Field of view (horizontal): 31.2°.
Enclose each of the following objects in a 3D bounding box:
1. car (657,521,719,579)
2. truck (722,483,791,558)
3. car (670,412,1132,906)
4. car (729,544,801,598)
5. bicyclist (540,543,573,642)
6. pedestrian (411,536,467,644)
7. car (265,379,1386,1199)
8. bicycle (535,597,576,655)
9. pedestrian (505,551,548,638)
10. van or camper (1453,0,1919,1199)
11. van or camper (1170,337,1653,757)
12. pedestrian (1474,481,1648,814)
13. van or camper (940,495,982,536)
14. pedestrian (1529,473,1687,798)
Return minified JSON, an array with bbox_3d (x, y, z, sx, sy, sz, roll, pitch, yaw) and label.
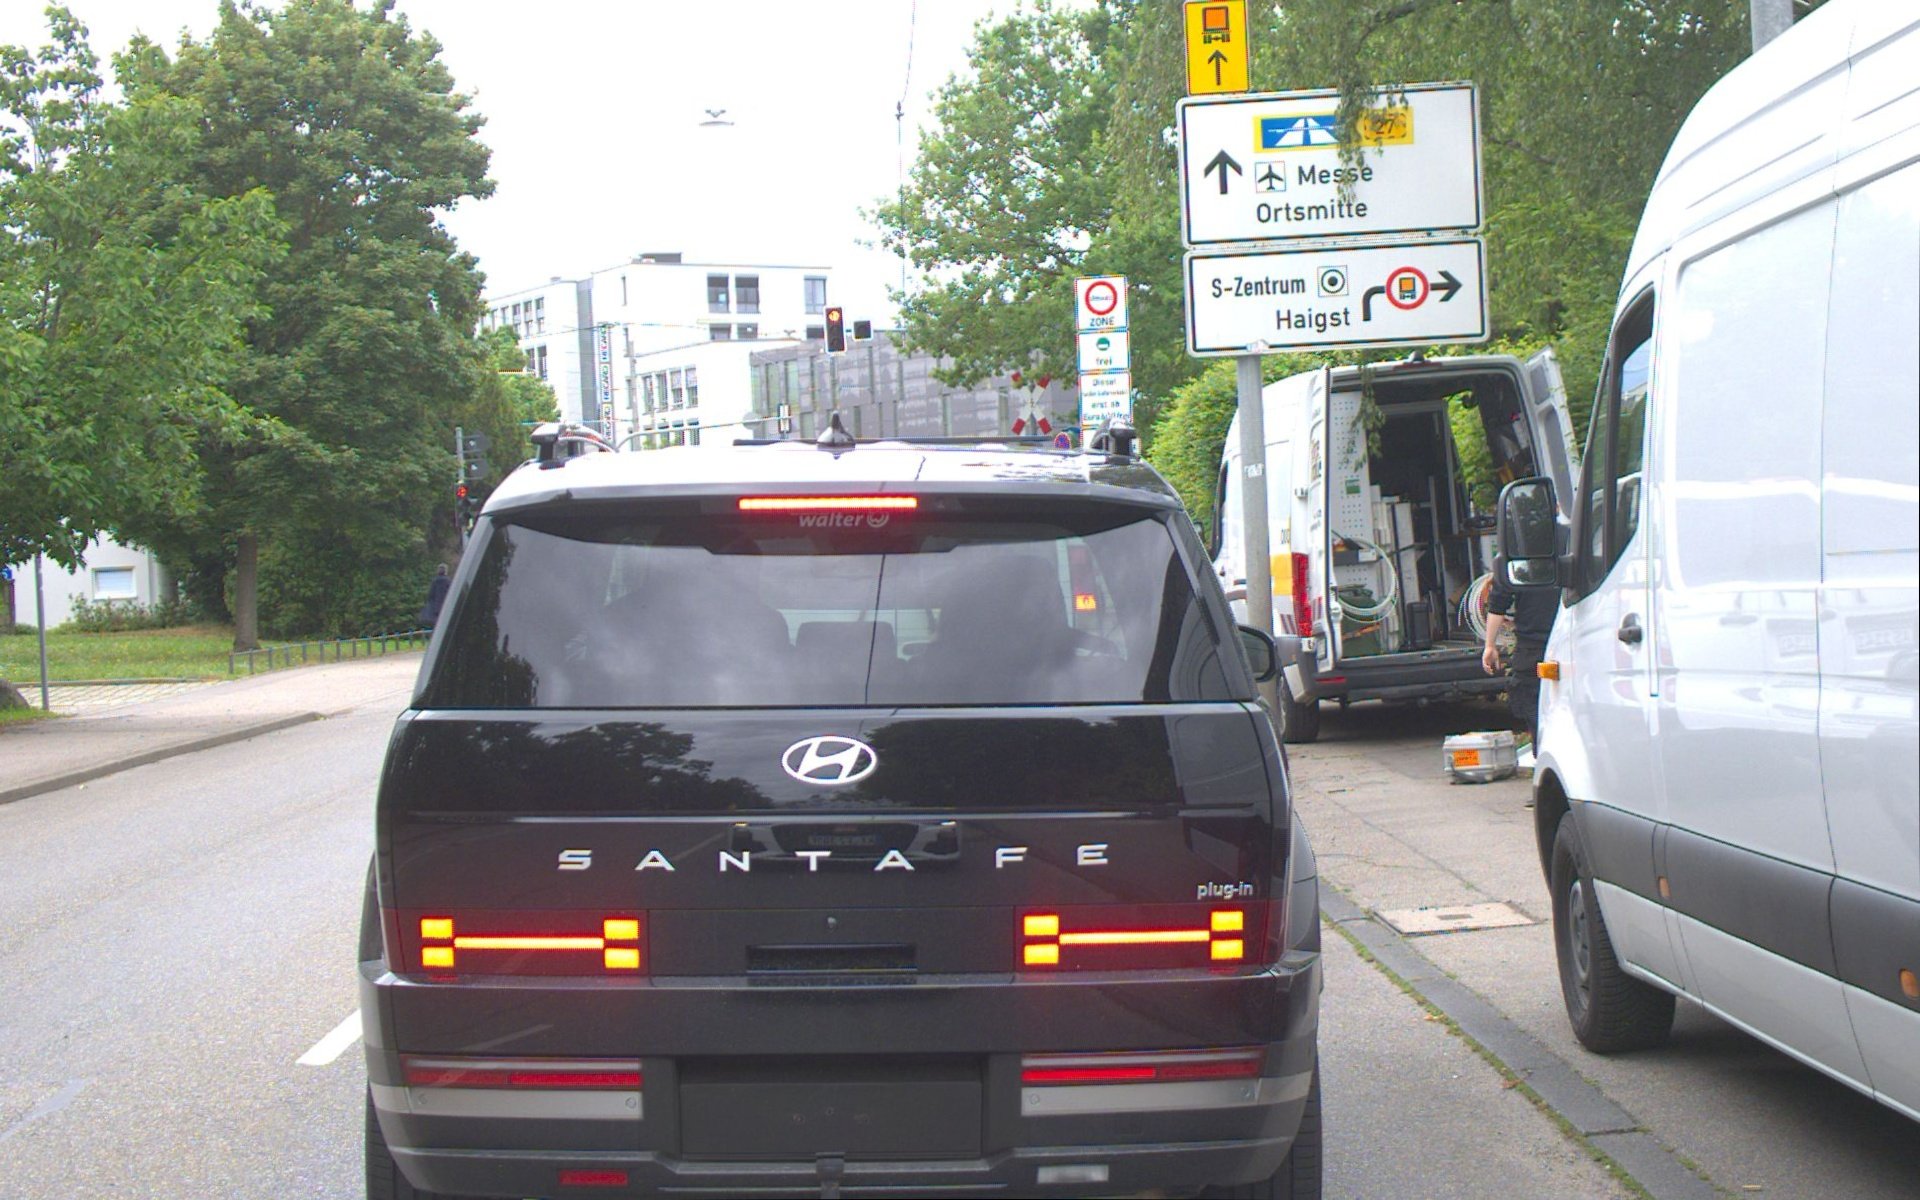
[{"bbox_3d":[-11.422,-2.096,144.193,2.332,2.307,4.959,-2,1,-6],"label":"car"},{"bbox_3d":[-11.140,-4.266,187.086,3.107,3.846,9.623,-2,1,-6],"label":"truck"},{"bbox_3d":[-0.270,0.229,16.343,1.897,2.035,3.994,1,1,-1],"label":"car"},{"bbox_3d":[-5.527,-0.830,97.847,1.756,1.398,4.414,-4,1,-1],"label":"car"},{"bbox_3d":[-6.896,-0.125,58.755,0.487,1.678,0.588,1,0,-1],"label":"bicyclist"},{"bbox_3d":[-9.760,-0.190,64.432,0.830,2.007,1.047,1,0,2],"label":"pedestrian"},{"bbox_3d":[-0.254,0.502,7.880,1.897,1.770,3.994,1,1,-1],"label":"car"},{"bbox_3d":[-6.900,0.438,58.733,0.495,0.961,1.748,1,1,-1],"label":"bicycle"},{"bbox_3d":[-8.701,-0.116,69.017,0.767,1.742,0.904,-1,0,-2],"label":"pedestrian"},{"bbox_3d":[2.607,-0.018,7.000,1.991,2.616,6.544,-5,1,-1],"label":"van or camper"},{"bbox_3d":[3.088,-0.334,25.274,2.340,2.486,6.603,-5,0,-1],"label":"van or camper"},{"bbox_3d":[3.079,0.235,17.674,0.736,1.638,0.801,-3,0,6],"label":"pedestrian"},{"bbox_3d":[0.028,-4.237,172.483,1.795,1.992,3.824,1,1,-4],"label":"van or camper"},{"bbox_3d":[3.503,0.183,18.645,0.750,1.715,0.792,1,0,6],"label":"pedestrian"}]
